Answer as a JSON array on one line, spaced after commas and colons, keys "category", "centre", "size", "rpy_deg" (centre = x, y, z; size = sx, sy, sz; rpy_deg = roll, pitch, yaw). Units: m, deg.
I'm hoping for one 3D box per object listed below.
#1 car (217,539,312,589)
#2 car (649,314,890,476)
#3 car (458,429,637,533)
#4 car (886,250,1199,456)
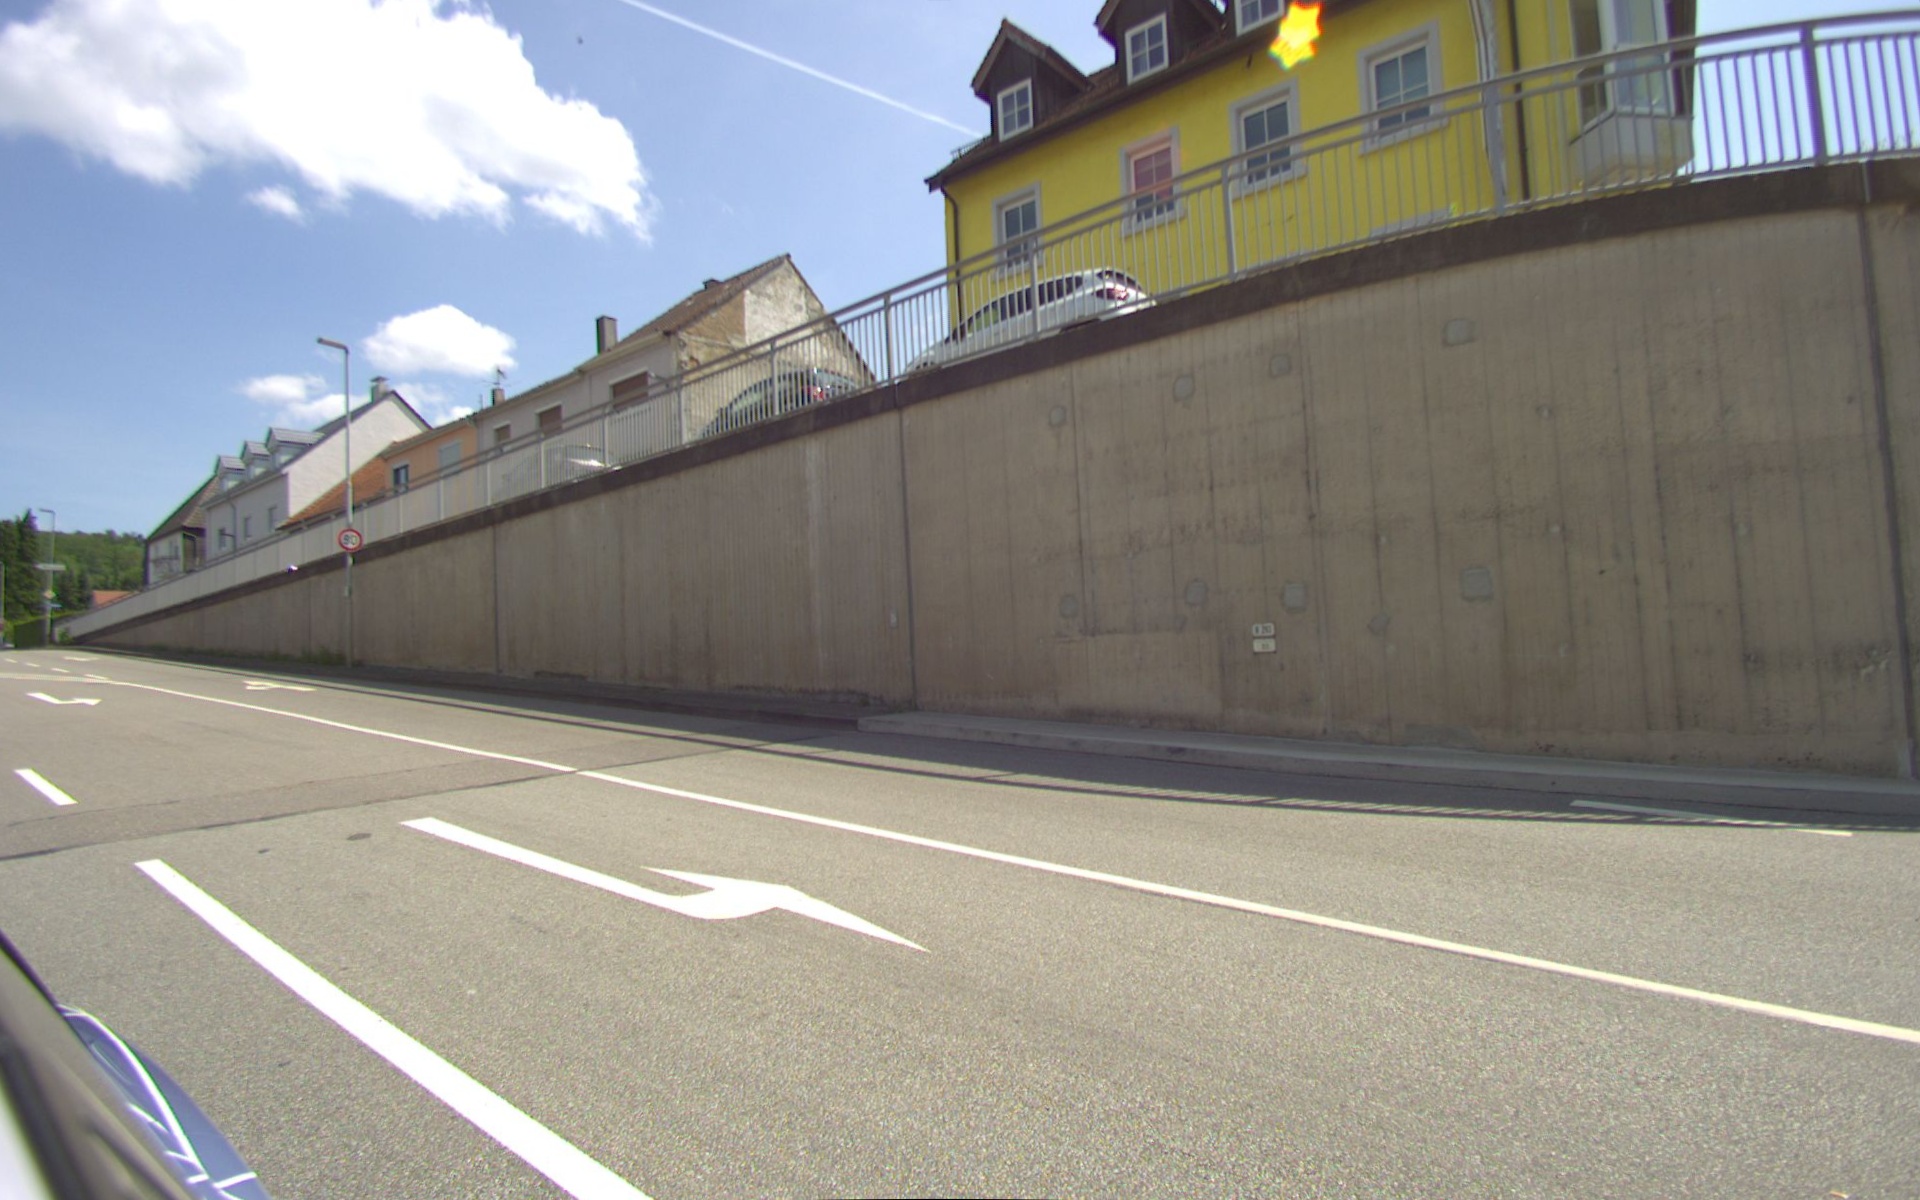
[{"category": "car", "centre": [-25.825, -1.287, 37.506], "size": [4.388, 1.416, 1.768], "rpy_deg": [-4, -3, 39]}, {"category": "car", "centre": [-3.377, -3.390, 17.508], "size": [4.218, 1.718, 1.804], "rpy_deg": [-4, -3, 39]}, {"category": "car", "centre": [-9.188, -2.523, 22.378], "size": [4.388, 1.536, 1.780], "rpy_deg": [-4, -3, 39]}, {"category": "car", "centre": [1.069, -3.272, 14.217], "size": [3.996, 1.681, 1.883], "rpy_deg": [-4, -3, 40]}]
